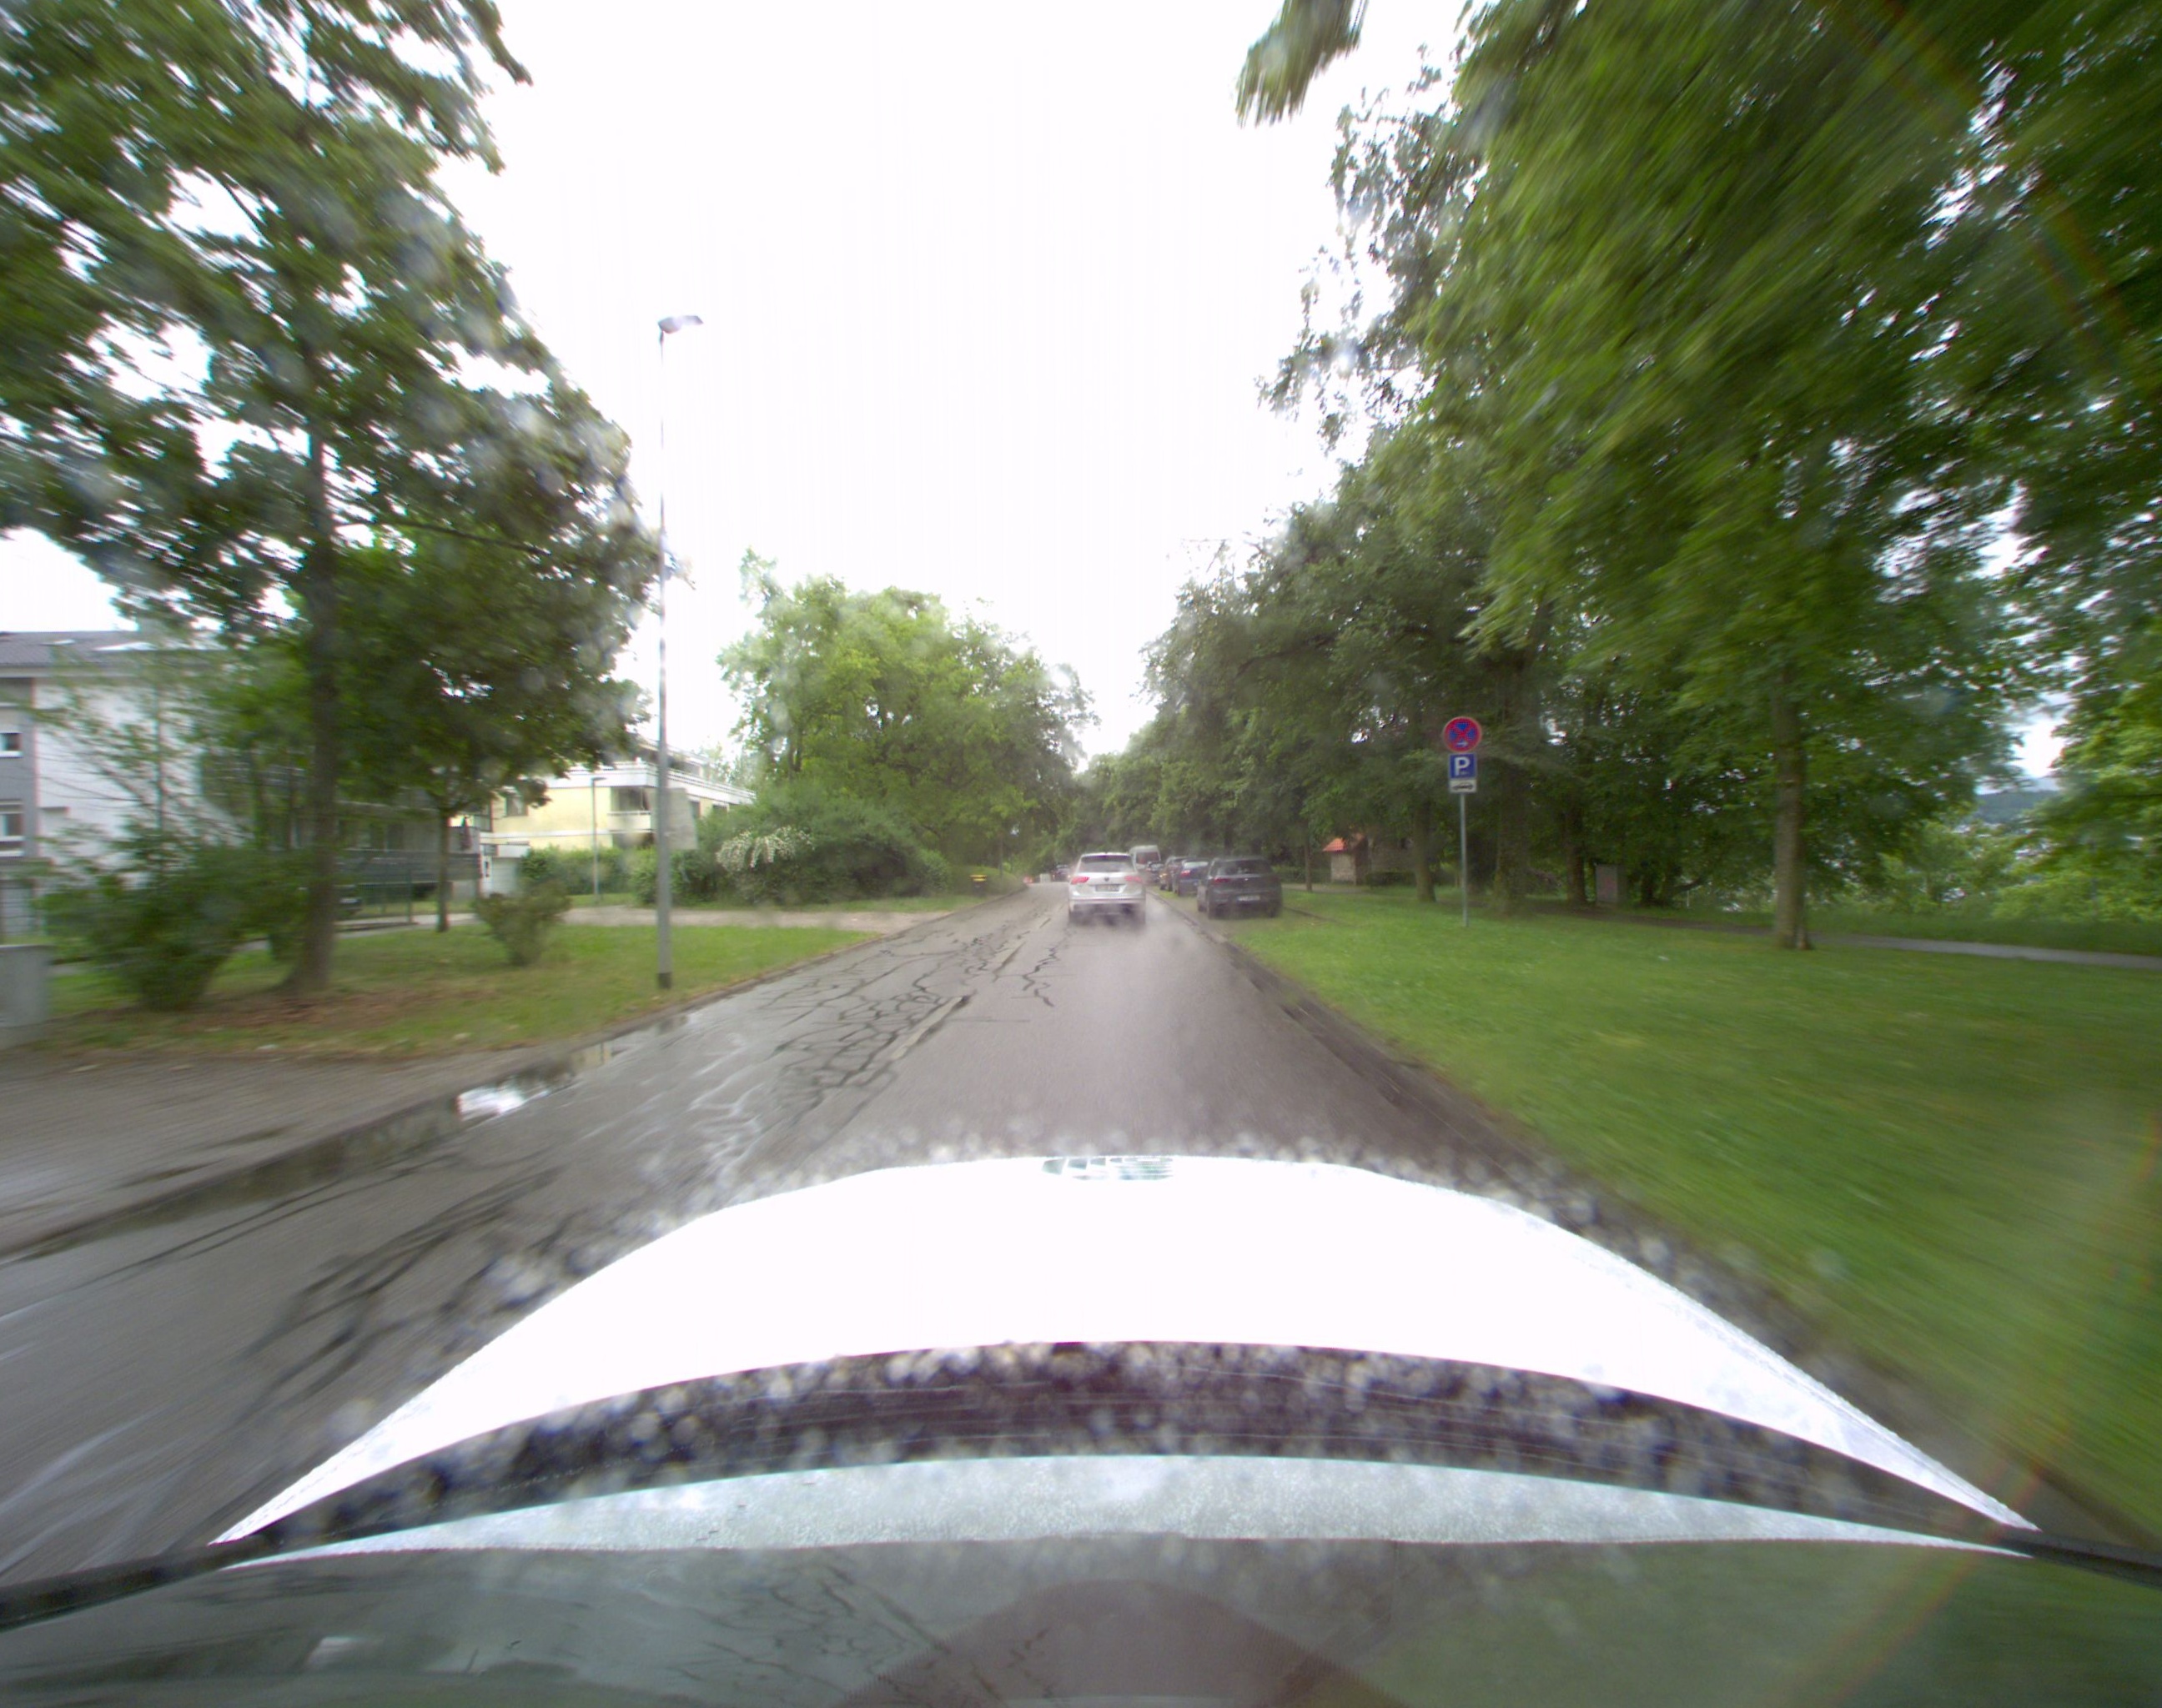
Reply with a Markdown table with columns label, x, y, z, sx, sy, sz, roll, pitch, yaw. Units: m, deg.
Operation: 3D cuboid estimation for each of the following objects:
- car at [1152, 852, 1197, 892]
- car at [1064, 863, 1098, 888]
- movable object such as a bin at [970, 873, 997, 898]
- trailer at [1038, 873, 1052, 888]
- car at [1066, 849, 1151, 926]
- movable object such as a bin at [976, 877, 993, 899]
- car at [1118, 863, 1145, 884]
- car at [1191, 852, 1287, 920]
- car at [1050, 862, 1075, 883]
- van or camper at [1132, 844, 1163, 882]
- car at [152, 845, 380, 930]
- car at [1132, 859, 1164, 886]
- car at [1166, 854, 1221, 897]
| label | x | y | z | sx | sy | sz | roll | pitch | yaw |
| --- | --- | --- | --- | --- | --- | --- | --- | --- | --- |
| car | 4.387 | 0.815 | 38.605 | 1.774 | 1.719 | 4.265 | -3 | 0 | 3 |
| car | -0.026 | 1.852 | 71.813 | 1.996 | 2.013 | 3.981 | -2 | 0 | -14 |
| movable object such as a bin | -4.457 | 1.447 | 37.234 | 1.033 | 1.105 | 0.967 | -1 | -1 | 3 |
| trailer | -5.653 | 4.053 | 125.991 | 1.530 | 2.076 | 3.984 | -3 | -4 | -10 |
| car | 0.617 | 0.771 | 20.411 | 1.899 | 1.685 | 4.199 | -1 | -1 | 0 |
| movable object such as a bin | -4.315 | 1.532 | 36.470 | 0.645 | 0.979 | 0.578 | 0 | -1 | 3 |
| car | 4.048 | 1.532 | 65.918 | 1.800 | 1.539 | 4.264 | -3 | -1 | -1 |
| car | 3.849 | 0.744 | 20.482 | 1.694 | 1.461 | 4.219 | -3 | -1 | 2 |
| car | -1.997 | 1.953 | 86.603 | 1.994 | 2.013 | 3.986 | -2 | 0 | -10 |
| van or camper | 4.751 | 0.622 | 59.144 | 2.007 | 2.583 | 8.442 | 0 | 0 | 3 |
| car | -22.054 | 0.870 | 22.197 | 3.979 | 2.013 | 1.997 | -3 | 0 | -4 |
| car | 4.119 | 1.100 | 50.441 | 1.857 | 1.511 | 3.727 | -2 | 0 | 3 |
| car | 4.366 | 0.804 | 32.022 | 1.736 | 1.452 | 4.003 | 4 | 0 | 3 |
